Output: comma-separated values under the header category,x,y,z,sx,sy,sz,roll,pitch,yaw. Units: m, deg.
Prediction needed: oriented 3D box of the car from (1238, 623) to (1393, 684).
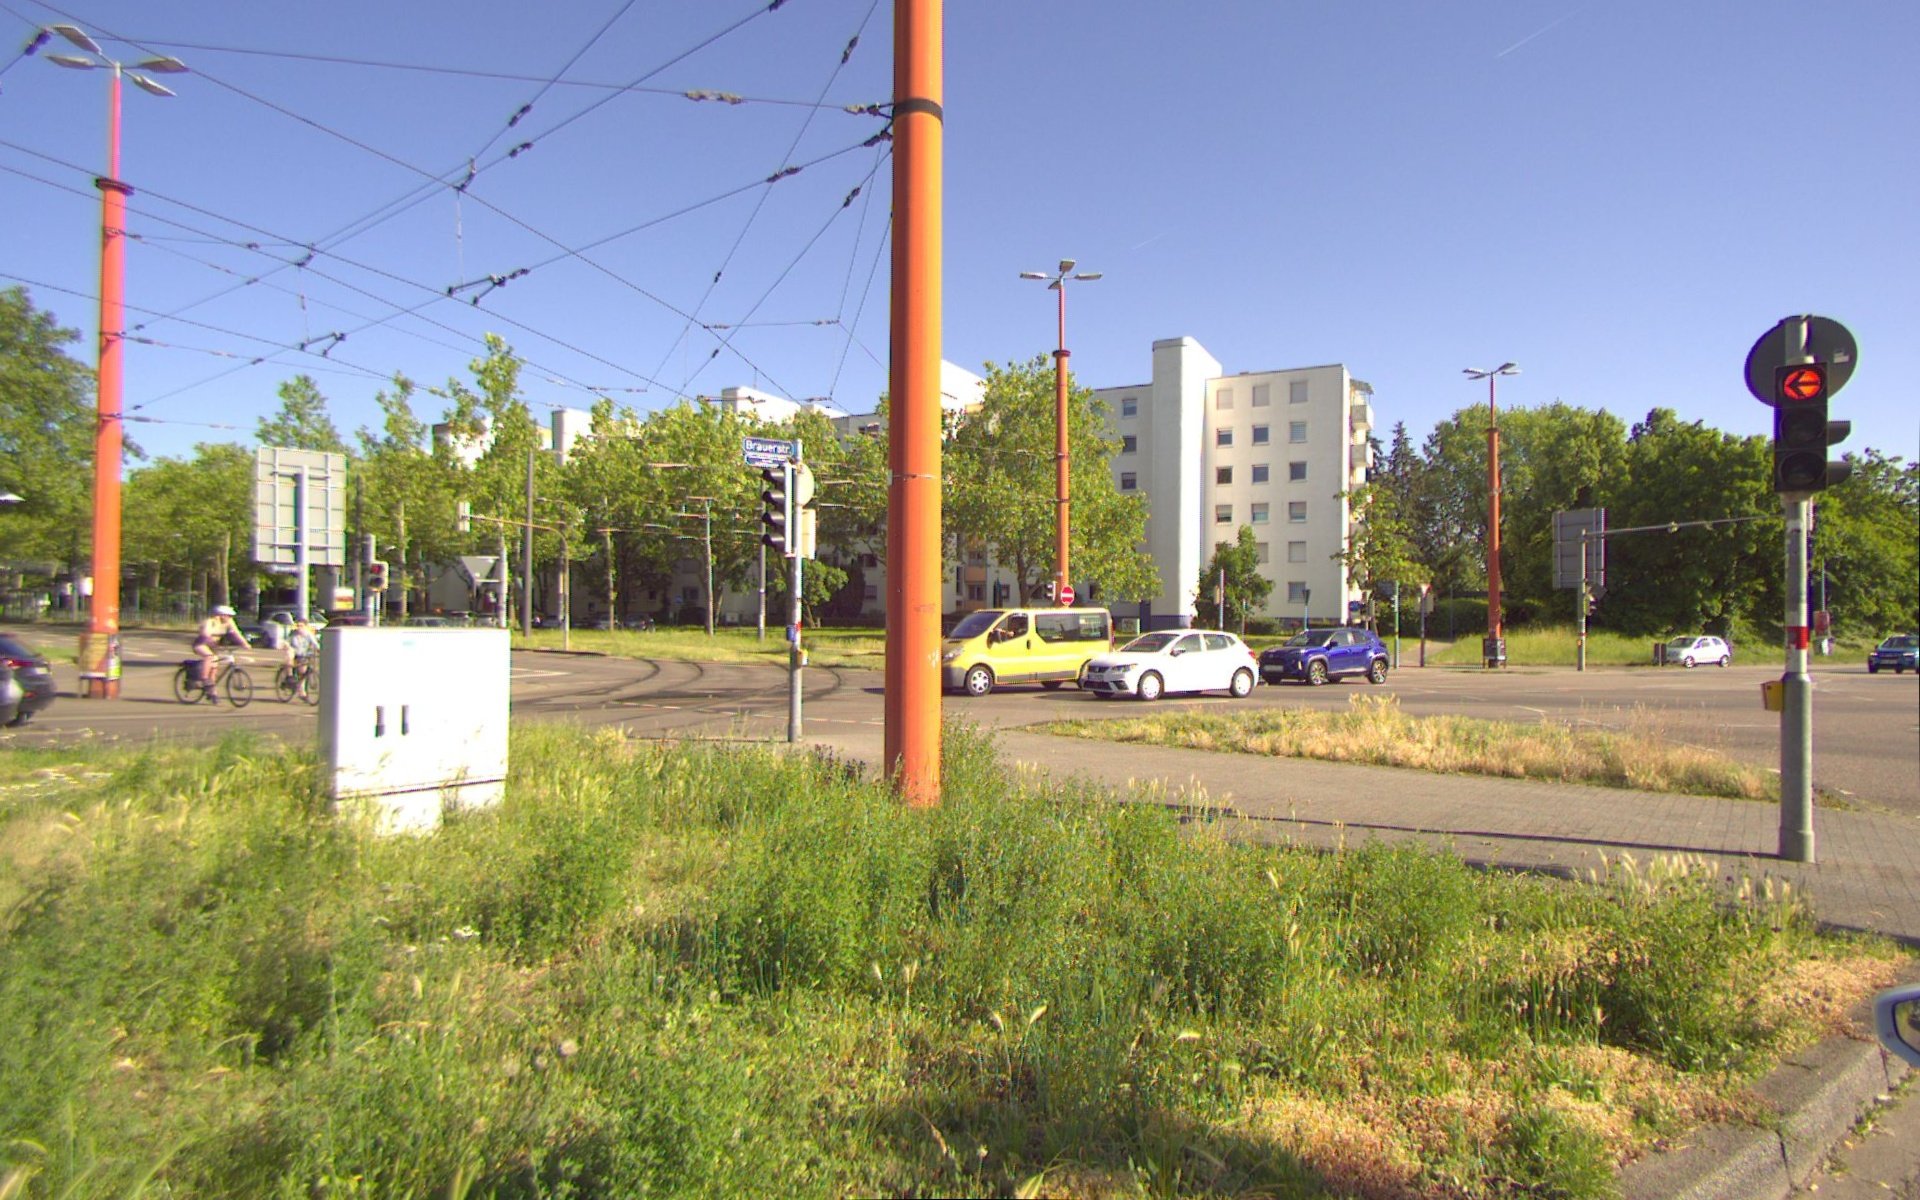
category,x,y,z,sx,sy,sz,roll,pitch,yaw
car,10.010,1.478,28.227,4.059,1.594,1.984,2,-2,-30

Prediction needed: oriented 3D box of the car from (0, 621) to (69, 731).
category,x,y,z,sx,sy,sz,roll,pitch,yaw
car,-15.645,1.057,14.200,4.185,1.528,1.782,1,-1,-26

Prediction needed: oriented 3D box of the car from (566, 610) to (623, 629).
category,x,y,z,sx,sy,sz,roll,pitch,yaw
car,-27.576,1.480,75.916,3.934,1.428,1.794,1,-1,-16

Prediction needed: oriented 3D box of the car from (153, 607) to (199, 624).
category,x,y,z,sx,sy,sz,roll,pitch,yaw
car,-94.088,1.866,120.533,1.969,2.040,3.984,0,-1,38

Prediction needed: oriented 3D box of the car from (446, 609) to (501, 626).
category,x,y,z,sx,sy,sz,roll,pitch,yaw
car,-41.433,1.478,85.621,3.935,1.428,1.794,1,-1,-17

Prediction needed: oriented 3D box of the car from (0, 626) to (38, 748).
category,x,y,z,sx,sy,sz,roll,pitch,yaw
car,-13.487,1.012,11.287,4.257,1.435,1.787,1,-1,-29

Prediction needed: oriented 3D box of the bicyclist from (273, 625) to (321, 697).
category,x,y,z,sx,sy,sz,roll,pitch,yaw
bicyclist,-13.140,1.203,19.913,0.616,1.399,0.443,1,-1,-1

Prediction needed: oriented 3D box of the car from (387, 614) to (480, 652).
category,x,y,z,sx,sy,sz,roll,pitch,yaw
car,-22.942,1.391,43.748,4.191,1.566,1.852,0,-1,35

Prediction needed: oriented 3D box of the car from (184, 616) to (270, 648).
category,x,y,z,sx,sy,sz,roll,pitch,yaw
car,-34.671,1.496,47.488,4.286,1.368,1.762,0,-1,31

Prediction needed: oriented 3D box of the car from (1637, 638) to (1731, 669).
category,x,y,z,sx,sy,sz,roll,pitch,yaw
car,35.369,2.607,49.084,3.936,1.416,1.750,1,-1,-17

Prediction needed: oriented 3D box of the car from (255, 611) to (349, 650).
category,x,y,z,sx,sy,sz,roll,pitch,yaw
car,-28.958,1.319,44.184,4.179,1.658,1.825,0,-1,32

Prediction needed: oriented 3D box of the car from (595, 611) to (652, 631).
category,x,y,z,sx,sy,sz,roll,pitch,yaw
car,-24.995,1.551,74.692,3.934,1.428,1.794,1,-1,-16

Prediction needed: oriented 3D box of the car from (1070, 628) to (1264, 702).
category,x,y,z,sx,sy,sz,roll,pitch,yaw
car,4.445,1.341,21.475,3.973,1.425,1.681,1,-1,-30

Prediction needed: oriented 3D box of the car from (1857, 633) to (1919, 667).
category,x,y,z,sx,sy,sz,roll,pitch,yaw
car,37.157,1.965,39.617,3.571,1.260,1.730,1,-1,-31

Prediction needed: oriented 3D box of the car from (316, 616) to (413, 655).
category,x,y,z,sx,sy,sz,roll,pitch,yaw
car,-24.069,1.413,40.555,3.994,1.454,1.682,0,-1,32

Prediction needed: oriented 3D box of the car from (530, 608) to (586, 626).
category,x,y,z,sx,sy,sz,roll,pitch,yaw
car,-31.936,1.362,79.967,3.935,1.428,1.794,1,-1,-17

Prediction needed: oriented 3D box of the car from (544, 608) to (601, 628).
category,x,y,z,sx,sy,sz,roll,pitch,yaw
car,-30.075,1.412,78.070,3.934,1.428,1.794,1,-1,-16

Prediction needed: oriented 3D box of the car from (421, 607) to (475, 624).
category,x,y,z,sx,sy,sz,roll,pitch,yaw
car,-44.788,1.379,87.891,3.935,1.428,1.794,1,-1,-17

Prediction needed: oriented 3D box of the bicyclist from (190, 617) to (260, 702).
category,x,y,z,sx,sy,sz,roll,pitch,yaw
bicyclist,-13.897,1.119,19.020,0.752,1.565,0.732,1,-1,-1

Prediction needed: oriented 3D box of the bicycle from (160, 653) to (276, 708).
category,x,y,z,sx,sy,sz,roll,pitch,yaw
bicycle,-13.957,1.505,18.921,1.613,0.974,0.685,1,-1,-2

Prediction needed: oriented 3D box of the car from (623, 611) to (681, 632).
category,x,y,z,sx,sy,sz,roll,pitch,yaw
car,-22.254,1.543,72.641,3.934,1.428,1.794,1,-1,-16

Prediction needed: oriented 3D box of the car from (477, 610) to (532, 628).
category,x,y,z,sx,sy,sz,roll,pitch,yaw
car,-38.030,1.560,83.880,3.935,1.428,1.794,1,-1,-17

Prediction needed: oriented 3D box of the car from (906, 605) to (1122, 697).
category,x,y,z,sx,sy,sz,roll,pitch,yaw
car,1.317,1.168,23.862,4.849,1.992,1.984,1,-1,-30

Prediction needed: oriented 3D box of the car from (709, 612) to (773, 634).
category,x,y,z,sx,sy,sz,roll,pitch,yaw
car,-14.541,1.547,66.838,1.770,1.428,3.987,0,-1,35
